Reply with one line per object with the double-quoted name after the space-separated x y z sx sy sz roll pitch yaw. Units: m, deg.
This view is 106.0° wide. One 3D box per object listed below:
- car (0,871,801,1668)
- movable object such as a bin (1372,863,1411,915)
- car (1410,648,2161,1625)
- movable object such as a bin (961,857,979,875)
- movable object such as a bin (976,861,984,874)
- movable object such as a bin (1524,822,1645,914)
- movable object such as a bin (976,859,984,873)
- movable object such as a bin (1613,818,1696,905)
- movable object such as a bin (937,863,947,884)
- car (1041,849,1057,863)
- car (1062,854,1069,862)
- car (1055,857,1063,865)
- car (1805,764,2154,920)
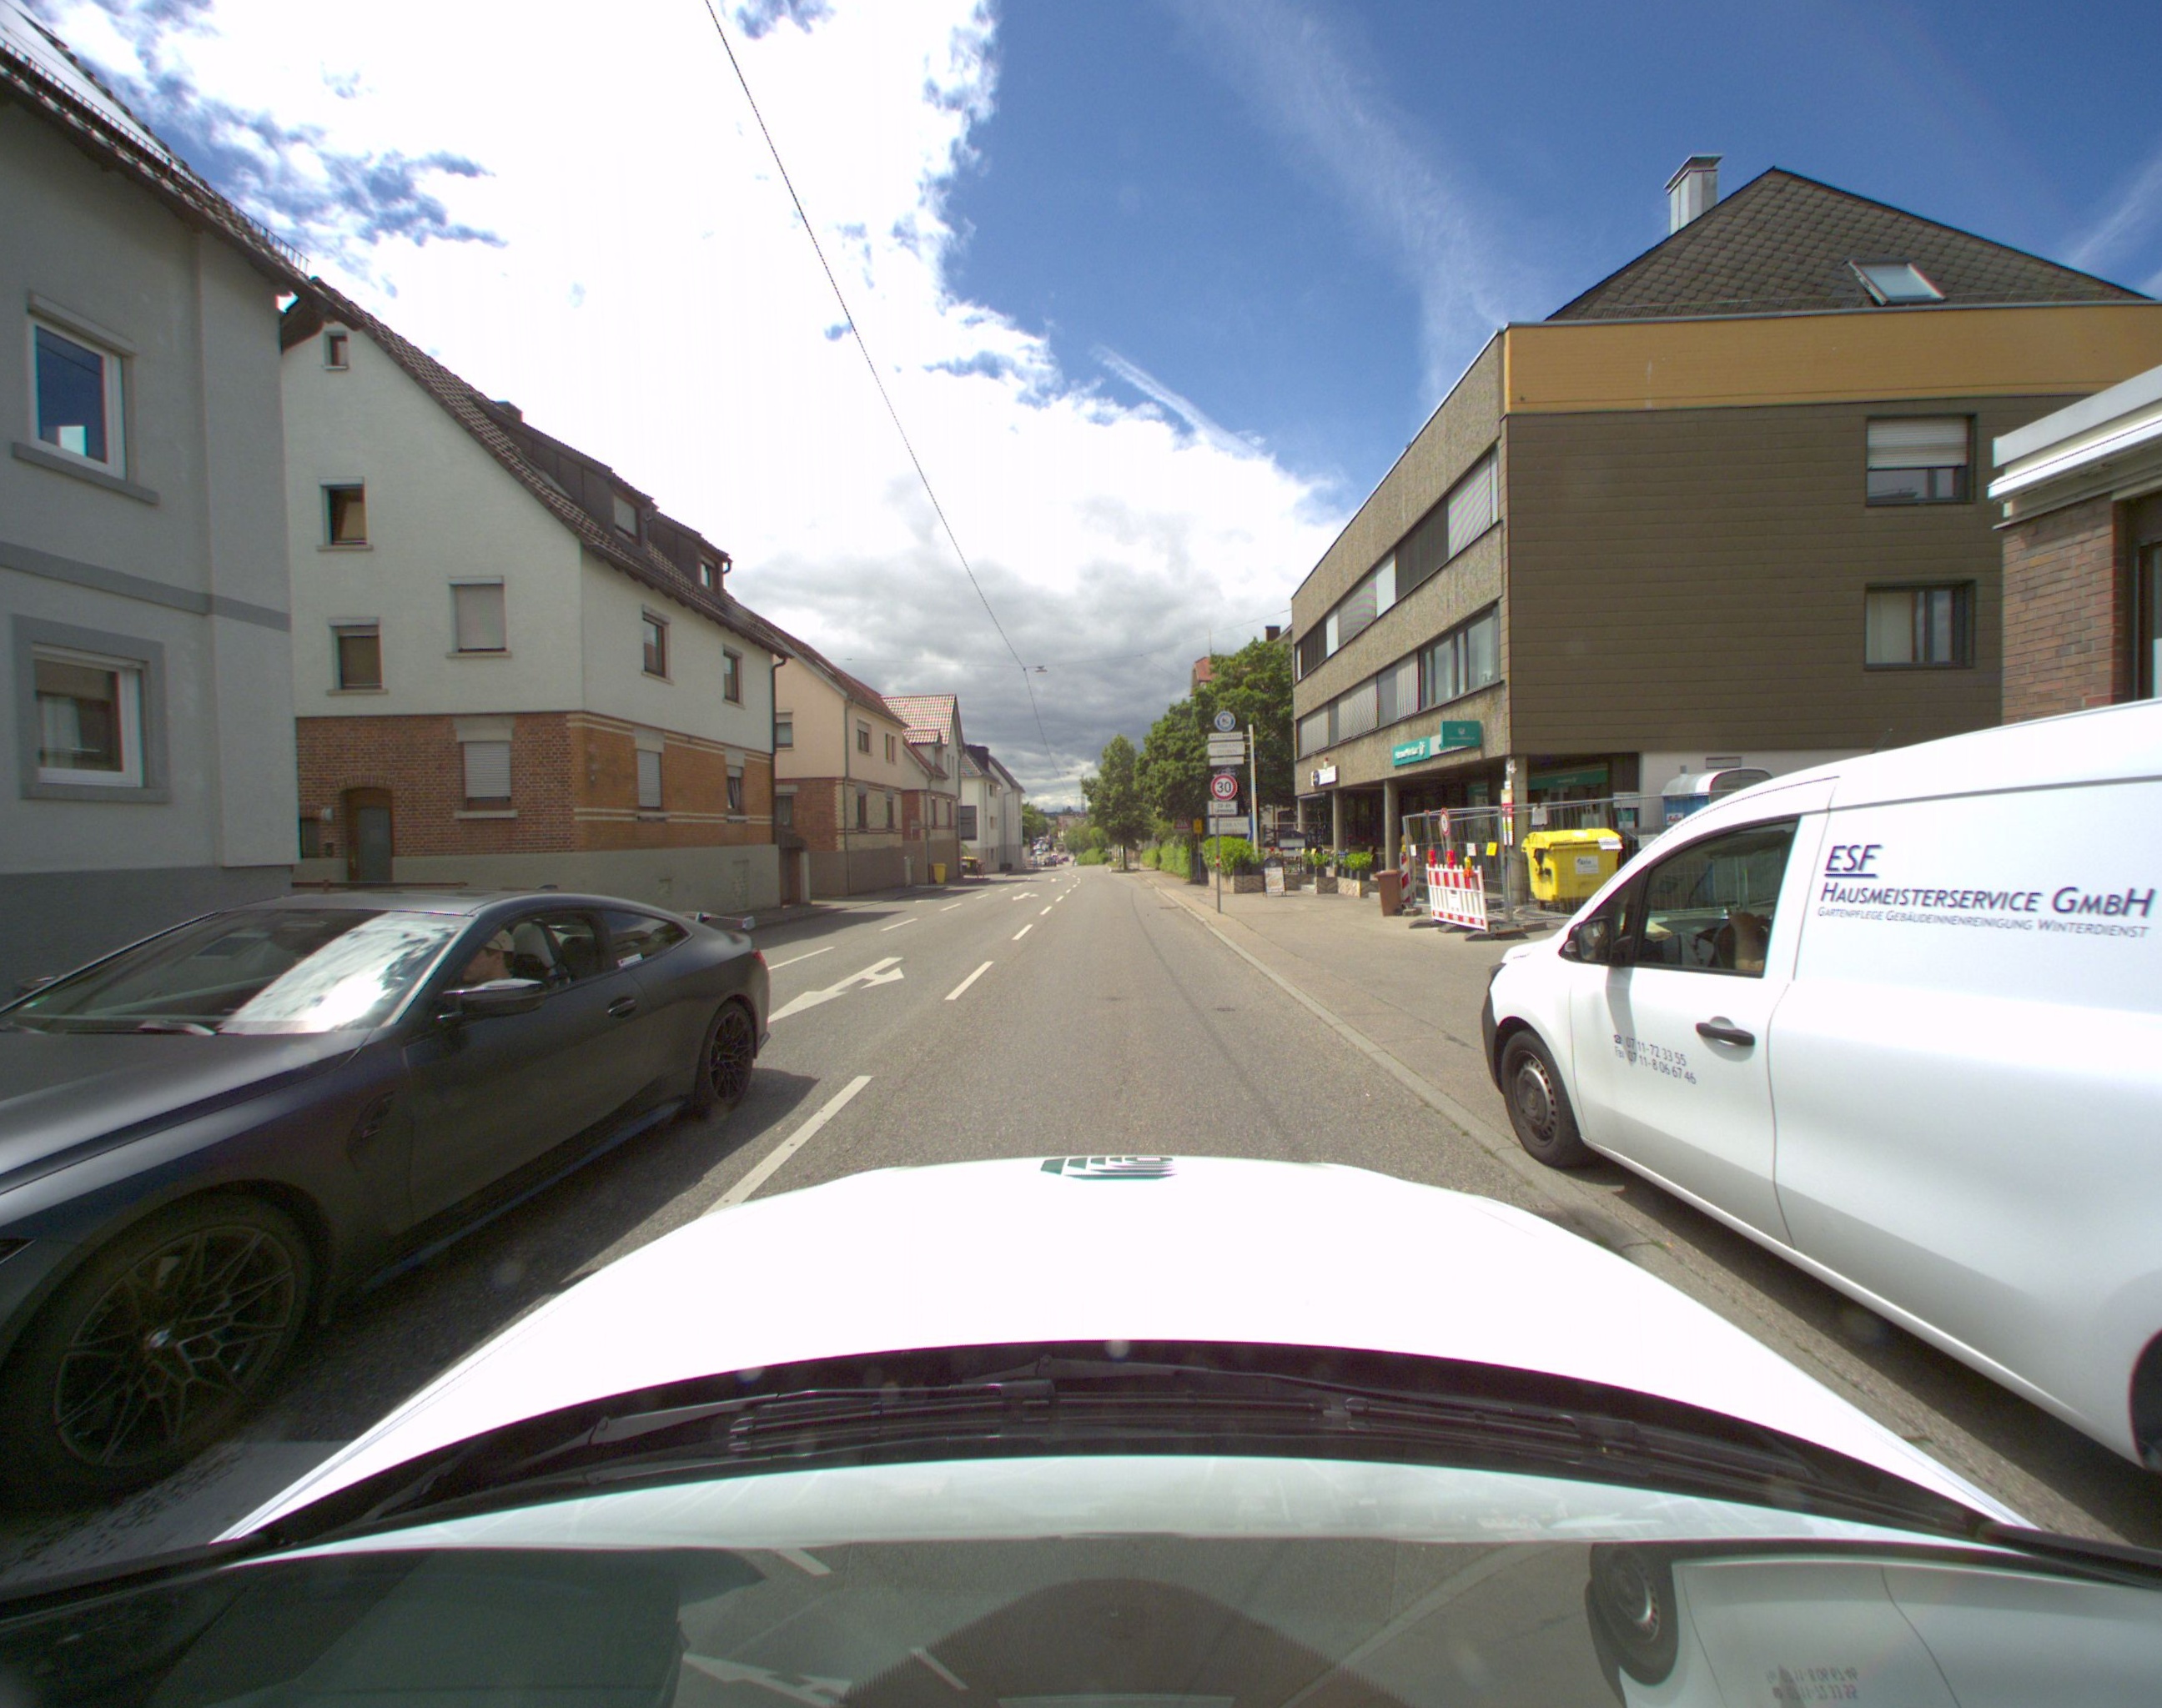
-3.112 0.916 3.595 1.986 1.457 4.619 -3 0 1 "car"
6.397 0.716 16.764 0.597 1.026 0.683 -3 0 31 "movable object such as a bin"
2.946 0.462 2.753 1.904 1.794 4.493 -4 0 2 "car"
-8.295 0.920 60.962 1.279 1.310 0.815 -2 0 -4 "movable object such as a bin"
-7.674 1.025 62.048 0.530 1.030 0.455 -2 0 0 "movable object such as a bin"
8.848 0.223 14.384 1.475 1.492 1.078 -2 2 4 "movable object such as a bin"
-7.755 0.947 62.788 0.530 1.030 0.455 -2 0 0 "movable object such as a bin"
10.041 0.101 14.293 0.776 1.439 1.019 -2 2 5 "movable object such as a bin"
-7.663 1.068 44.947 0.430 1.128 0.299 -3 0 0 "movable object such as a bin"
-5.013 0.306 127.612 1.992 2.013 3.990 -2 0 -7 "car"
-4.388 1.205 230.471 1.989 2.013 3.996 -3 -1 -3 "car"
-5.774 1.753 214.938 1.989 2.013 3.996 -3 -1 -3 "car"
13.154 -0.189 11.998 3.773 1.778 1.908 -6 0 -16 "car"
